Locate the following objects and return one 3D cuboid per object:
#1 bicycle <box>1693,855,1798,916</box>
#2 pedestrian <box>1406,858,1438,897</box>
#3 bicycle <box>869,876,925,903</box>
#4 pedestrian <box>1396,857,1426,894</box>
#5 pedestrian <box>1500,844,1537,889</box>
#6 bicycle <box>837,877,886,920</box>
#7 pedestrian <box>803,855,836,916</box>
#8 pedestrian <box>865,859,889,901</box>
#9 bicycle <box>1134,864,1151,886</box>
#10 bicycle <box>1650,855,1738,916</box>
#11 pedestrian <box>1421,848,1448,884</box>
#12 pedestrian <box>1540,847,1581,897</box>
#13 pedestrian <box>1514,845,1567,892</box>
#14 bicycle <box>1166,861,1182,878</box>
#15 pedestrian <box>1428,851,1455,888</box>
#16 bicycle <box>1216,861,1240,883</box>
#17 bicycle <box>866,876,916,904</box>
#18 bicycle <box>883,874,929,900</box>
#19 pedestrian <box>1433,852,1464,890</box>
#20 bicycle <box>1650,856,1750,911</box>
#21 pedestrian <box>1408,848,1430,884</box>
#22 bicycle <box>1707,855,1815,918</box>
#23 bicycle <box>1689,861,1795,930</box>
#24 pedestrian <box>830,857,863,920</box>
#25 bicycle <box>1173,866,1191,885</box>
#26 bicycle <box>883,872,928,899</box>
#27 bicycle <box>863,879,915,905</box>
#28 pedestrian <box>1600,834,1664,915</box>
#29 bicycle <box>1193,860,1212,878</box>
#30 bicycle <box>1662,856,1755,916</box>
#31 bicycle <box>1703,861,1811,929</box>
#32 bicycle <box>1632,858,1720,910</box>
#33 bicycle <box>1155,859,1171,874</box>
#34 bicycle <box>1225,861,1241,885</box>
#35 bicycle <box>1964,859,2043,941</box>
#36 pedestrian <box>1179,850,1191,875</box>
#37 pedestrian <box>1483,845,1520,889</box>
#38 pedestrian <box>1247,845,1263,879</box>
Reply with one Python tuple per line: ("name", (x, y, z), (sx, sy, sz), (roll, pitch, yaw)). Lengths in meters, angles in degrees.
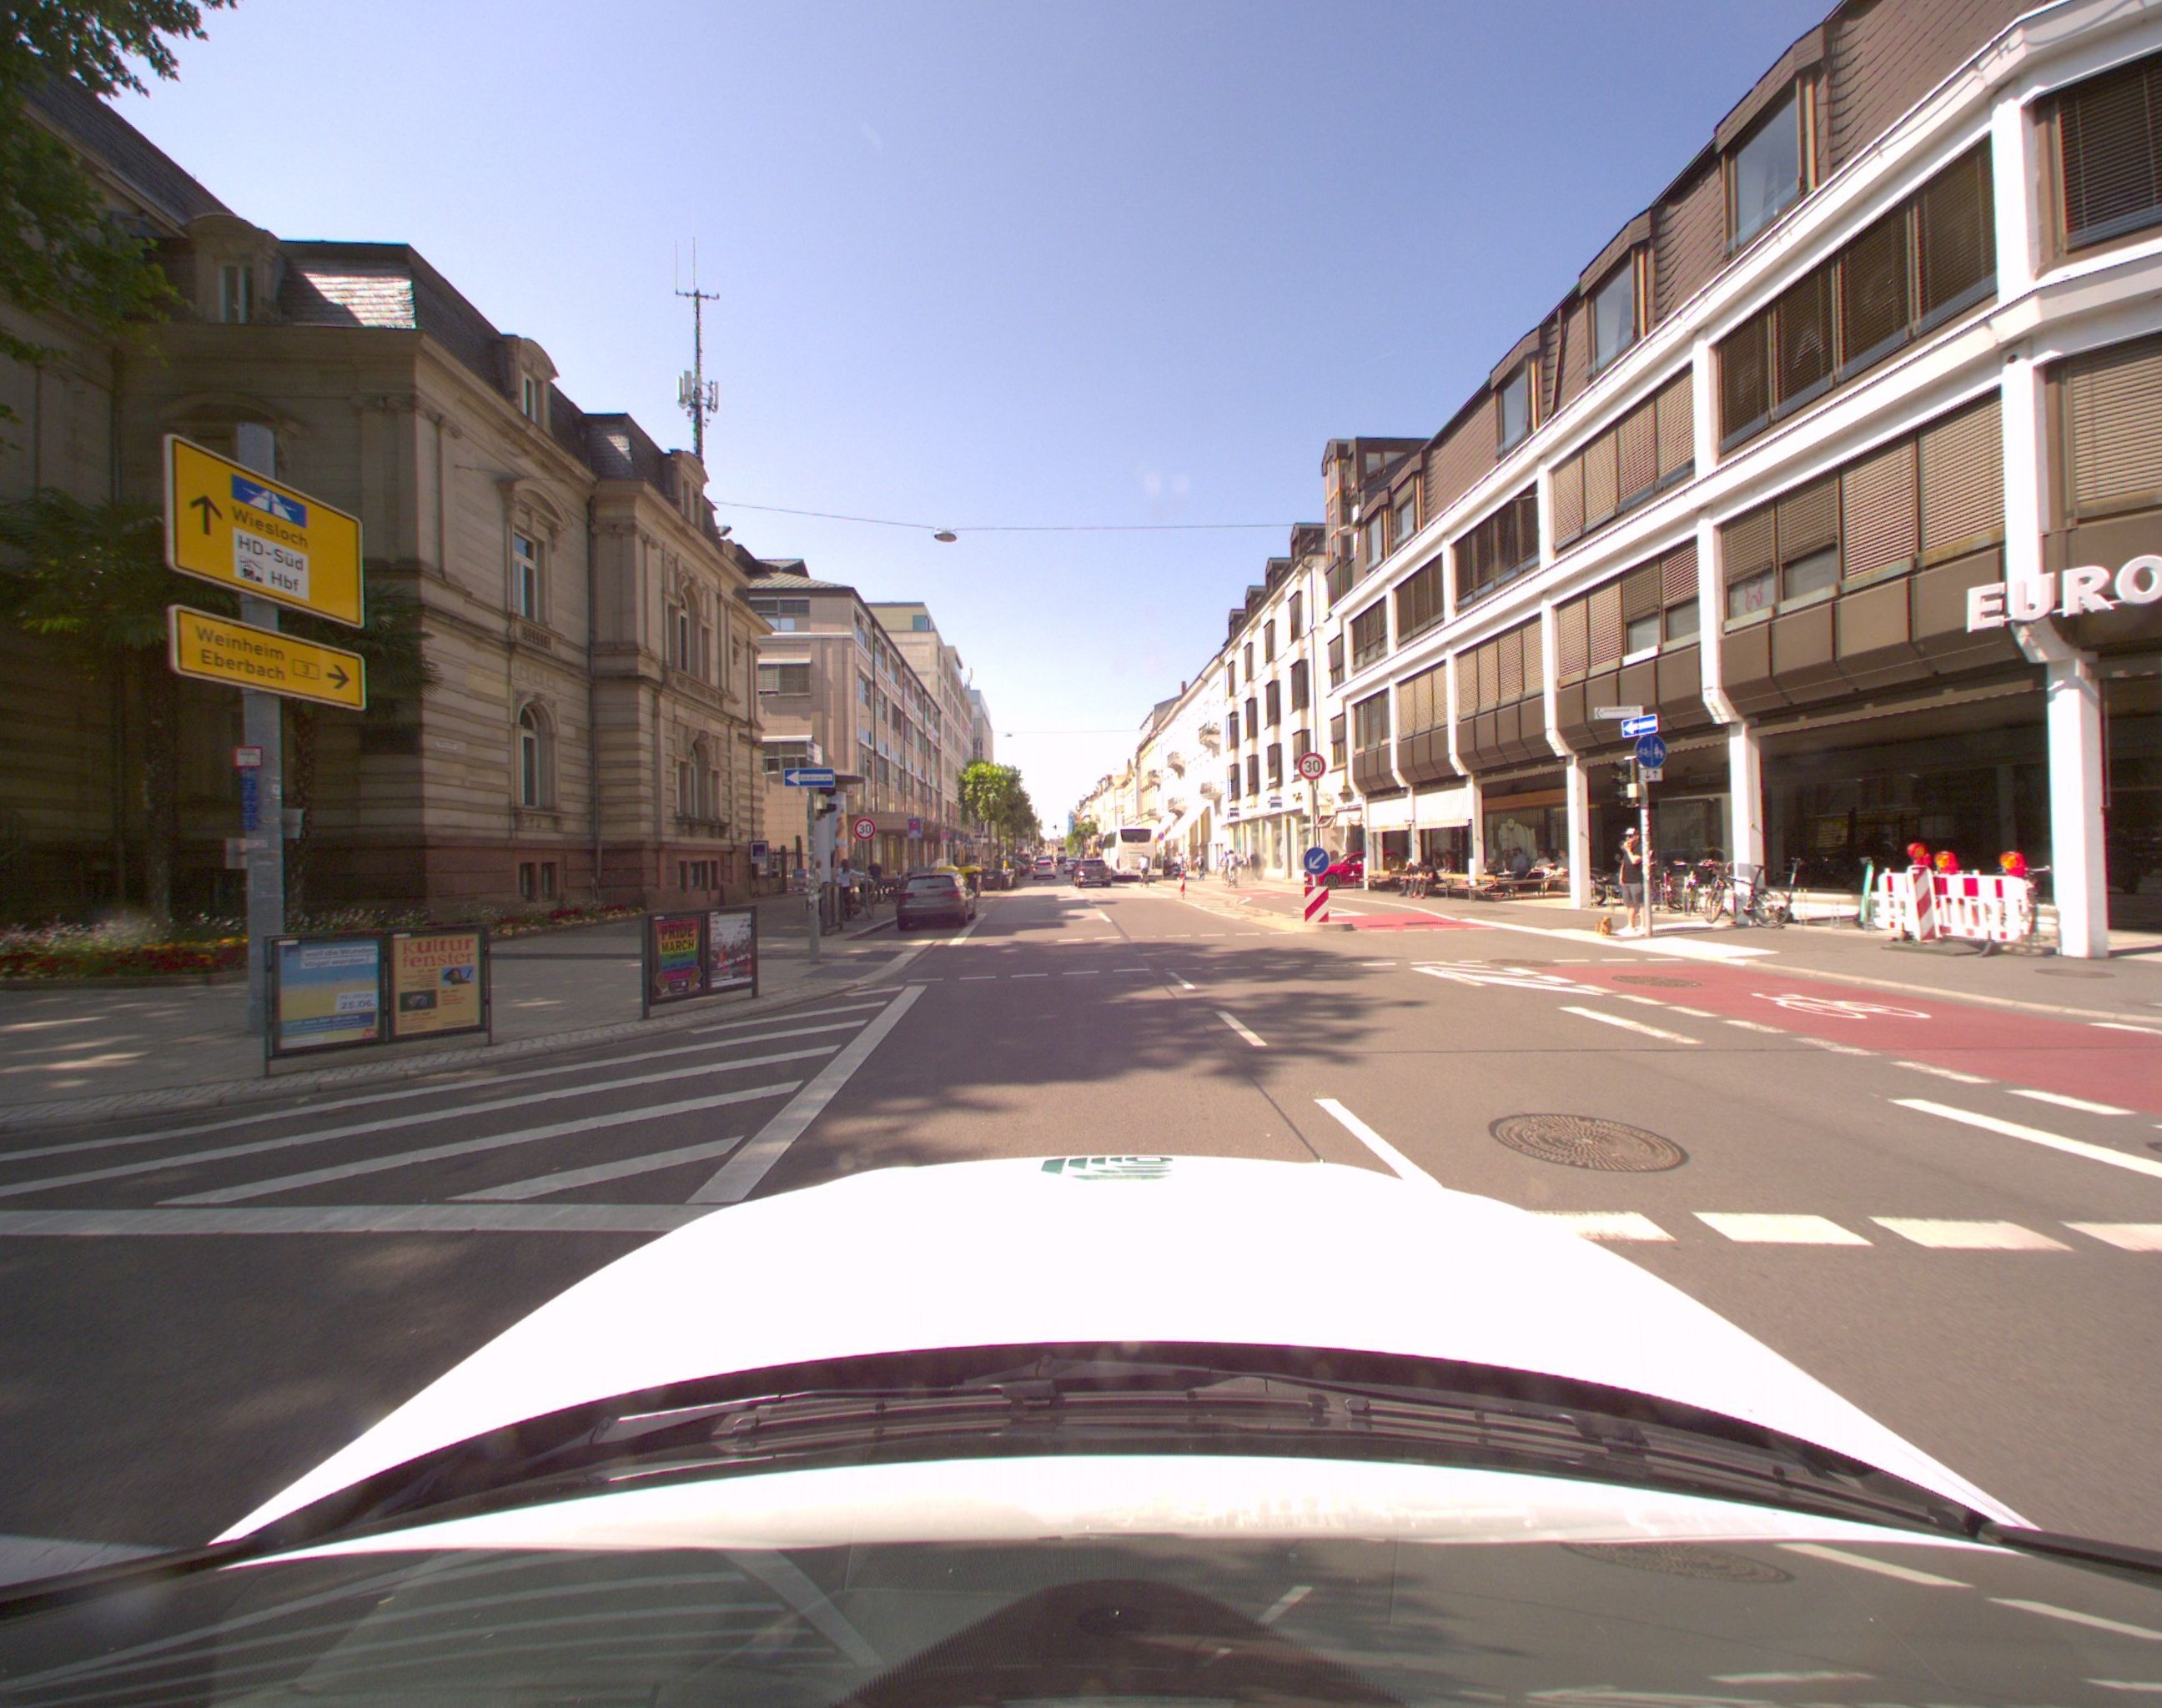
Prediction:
("bicycle", (12.986, 0.613, 15.937), (1.709, 1.120, 0.278), (-3, -1, 4))
("pedestrian", (10.917, 0.756, 26.085), (0.708, 1.217, 0.698), (-2, -2, 6))
("bicycle", (-7.635, 1.472, 33.779), (2.239, 1.120, 0.554), (1, -2, -14))
("pedestrian", (10.909, 0.716, 26.944), (0.708, 1.173, 0.698), (-2, -2, 6))
("pedestrian", (13.833, 0.401, 25.771), (0.710, 1.397, 0.696), (-1, -2, -4))
("bicycle", (-6.099, 1.224, 22.740), (0.427, 1.120, 2.248), (0, -2, 8))
("pedestrian", (-7.410, 0.887, 23.106), (0.546, 1.665, 0.938), (-2, -2, 6))
("pedestrian", (-8.393, 1.060, 33.527), (0.889, 1.725, 0.746), (-1, -1, -9))
("bicycle", (3.327, 1.115, 44.130), (0.663, 1.120, 2.241), (1, 0, -2))
("bicycle", (12.645, 0.647, 16.814), (1.538, 1.207, 0.278), (-1, 0, 4))
("pedestrian", (13.681, 0.460, 31.485), (0.743, 1.368, 0.583), (-1, -1, -4))
("pedestrian", (13.935, 0.518, 23.664), (0.710, 1.397, 0.696), (-1, -2, -4))
("pedestrian", (13.873, 0.447, 24.625), (0.894, 1.351, 1.104), (-2, -2, -4))
("bicycle", (6.106, 1.002, 53.683), (0.619, 1.099, 2.349), (-1, -1, -4))
("pedestrian", (13.686, 0.597, 30.944), (0.759, 1.368, 0.477), (-1, -1, -4))
("bicycle", (7.507, 0.922, 41.660), (0.619, 1.099, 2.349), (-1, -1, -4))
("bicycle", (-7.718, 1.463, 33.118), (1.962, 1.120, 0.554), (1, -2, -14))
("bicycle", (-7.890, 1.490, 36.743), (1.972, 1.120, 0.508), (1, -2, -7))
("pedestrian", (13.760, 0.631, 30.485), (0.875, 1.368, 0.536), (-1, -1, -4))
("bicycle", (13.317, 0.623, 17.519), (2.236, 1.120, 0.276), (-1, 0, -11))
("pedestrian", (13.078, 0.446, 31.544), (0.534, 1.368, 0.688), (-1, -1, -2))
("bicycle", (12.961, 0.624, 15.540), (1.709, 1.120, 0.278), (-3, -1, 4))
("bicycle", (11.862, 0.703, 14.706), (0.275, 1.120, 2.246), (-1, 0, 5))
("pedestrian", (-6.496, 0.948, 22.584), (0.692, 1.695, 0.690), (-2, -2, 0))
("bicycle", (6.126, 1.274, 49.292), (0.619, 1.099, 2.349), (-1, -1, -4))
("bicycle", (-7.782, 1.399, 36.112), (1.841, 1.073, 0.555), (-2, -2, -7))
("bicycle", (-7.623, 1.495, 32.400), (1.965, 1.017, 0.668), (1, -2, -14))
("pedestrian", (11.690, 0.437, 17.311), (0.828, 1.663, 0.698), (-2, -2, 6))
("bicycle", (7.480, 0.916, 50.205), (0.619, 1.099, 2.349), (-1, -1, -4))
("bicycle", (12.654, 0.641, 16.446), (1.563, 1.120, 0.278), (-3, -1, 4))
("bicycle", (12.207, 0.695, 14.800), (0.275, 1.120, 2.246), (-1, 0, 5))
("bicycle", (13.257, 0.651, 18.134), (2.241, 1.097, 0.276), (-1, 0, -17))
("bicycle", (6.152, 0.932, 61.138), (0.836, 1.099, 2.349), (-1, -1, -4))
("bicycle", (7.329, 0.906, 39.313), (0.591, 1.120, 1.803), (-1, 0, 5))
("bicycle", (13.100, 0.623, 11.592), (0.305, 1.065, 1.481), (-3, 0, 32))
("pedestrian", (7.052, 0.574, 55.162), (0.619, 1.720, 0.834), (-1, -1, -3))
("pedestrian", (13.731, 0.421, 26.608), (0.811, 1.396, 0.695), (-1, -2, -5))
("pedestrian", (9.750, 0.471, 45.664), (0.691, 1.851, 0.837), (-2, -2, 6))
